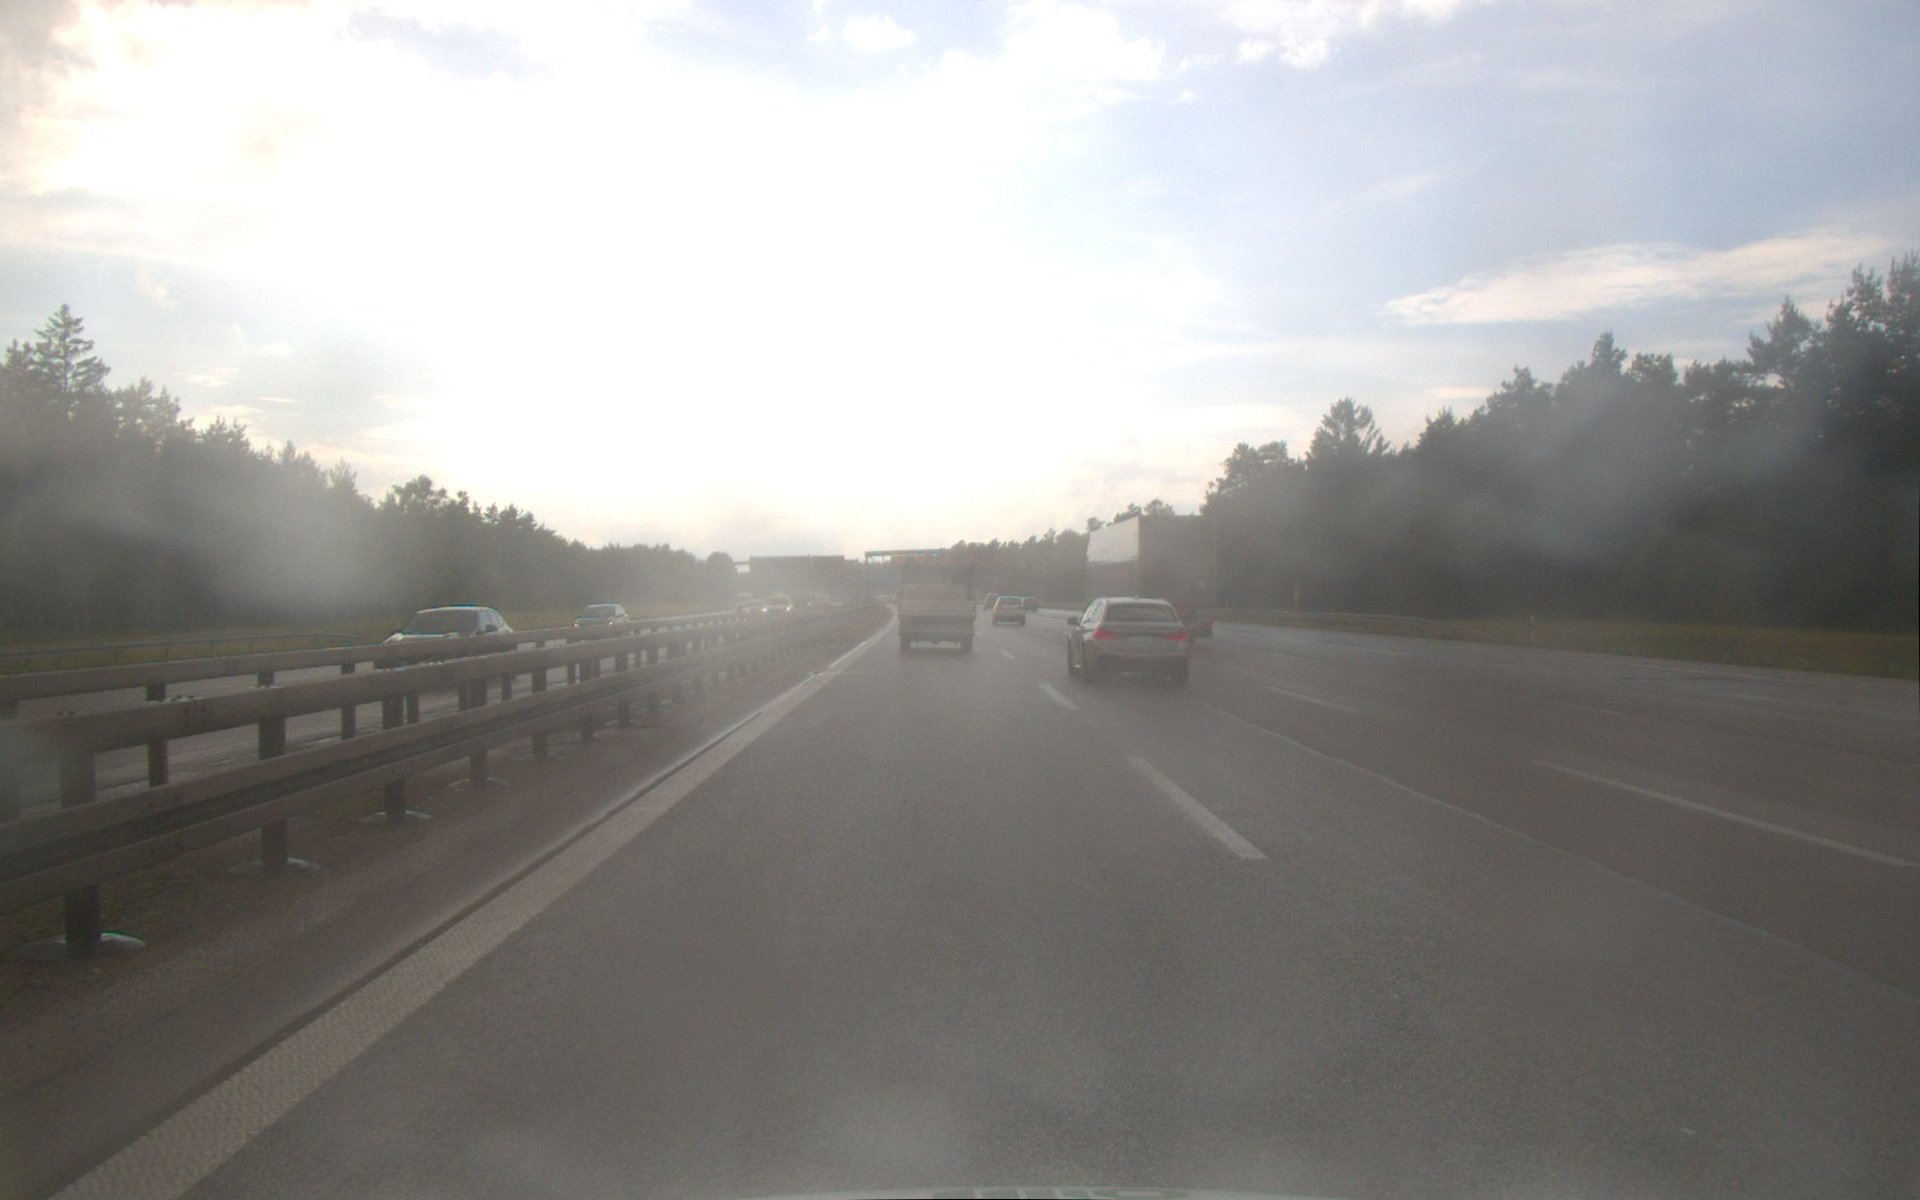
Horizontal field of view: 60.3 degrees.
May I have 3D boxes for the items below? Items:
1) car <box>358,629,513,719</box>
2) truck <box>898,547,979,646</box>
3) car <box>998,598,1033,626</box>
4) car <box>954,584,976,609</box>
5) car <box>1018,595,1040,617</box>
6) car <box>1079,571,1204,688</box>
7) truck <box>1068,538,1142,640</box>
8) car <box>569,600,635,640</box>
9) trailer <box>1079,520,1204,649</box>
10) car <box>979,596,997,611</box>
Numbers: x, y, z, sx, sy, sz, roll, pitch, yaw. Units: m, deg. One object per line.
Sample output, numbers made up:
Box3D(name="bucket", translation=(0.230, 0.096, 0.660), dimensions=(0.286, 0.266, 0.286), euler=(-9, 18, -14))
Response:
Box3D(name="car", translation=(-9.750, 1.333, 31.038), dimensions=(1.693, 1.413, 4.090), euler=(-2, 0, -2))
Box3D(name="truck", translation=(-0.594, -0.102, 45.407), dimensions=(2.094, 2.532, 5.312), euler=(0, 0, -1))
Box3D(name="car", translation=(2.961, 0.625, 89.012), dimensions=(1.793, 1.492, 4.001), euler=(0, 0, 1))
Box3D(name="car", translation=(0.408, -0.292, 139.565), dimensions=(1.869, 2.049, 4.000), euler=(0, 0, 0))
Box3D(name="car", translation=(6.756, 0.584, 162.946), dimensions=(1.953, 2.049, 4.000), euler=(1, 0, 0))
Box3D(name="car", translation=(3.210, 0.478, 30.076), dimensions=(2.034, 1.918, 5.014), euler=(0, 0, 4))
Box3D(name="truck", translation=(5.789, -0.427, 66.592), dimensions=(2.248, 3.935, 5.388), euler=(0, 0, -3))
Box3D(name="car", translation=(-14.447, 0.791, 66.995), dimensions=(1.775, 1.447, 4.235), euler=(-3, 0, -2))
Box3D(name="trailer", translation=(6.218, -0.491, 58.817), dimensions=(2.277, 4.071, 13.403), euler=(0, 0, -3))
Box3D(name="car", translation=(3.106, 0.391, 184.766), dimensions=(1.706, 1.718, 3.997), euler=(0, 0, -3))
